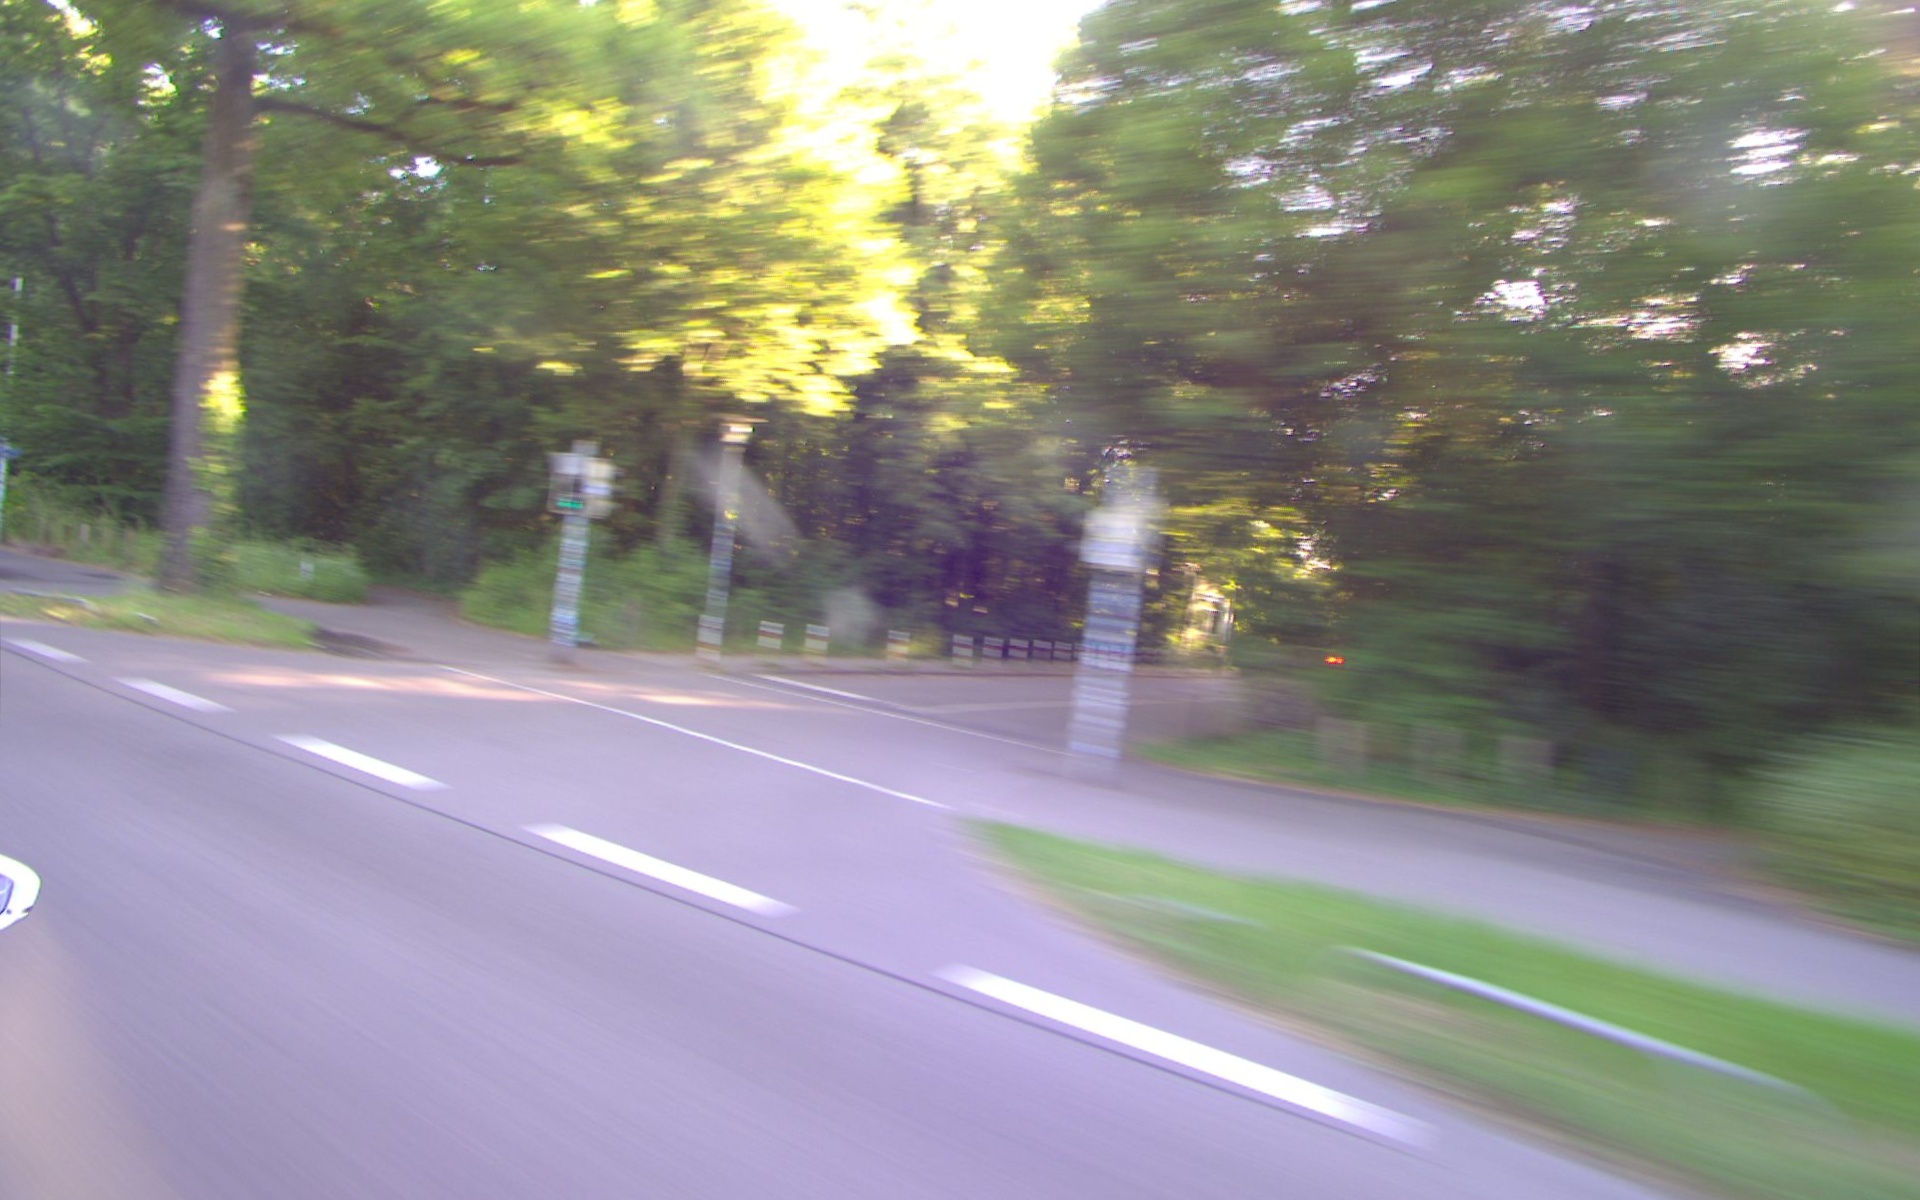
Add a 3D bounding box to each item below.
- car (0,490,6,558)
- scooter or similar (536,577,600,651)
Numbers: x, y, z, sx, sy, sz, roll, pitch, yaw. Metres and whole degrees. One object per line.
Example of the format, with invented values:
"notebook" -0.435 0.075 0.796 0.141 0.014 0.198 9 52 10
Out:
"car" -18.190 -1.340 17.310 3.696 1.487 1.719 7 0 33
"scooter or similar" -6.924 0.240 17.760 1.205 1.158 0.378 7 0 38
